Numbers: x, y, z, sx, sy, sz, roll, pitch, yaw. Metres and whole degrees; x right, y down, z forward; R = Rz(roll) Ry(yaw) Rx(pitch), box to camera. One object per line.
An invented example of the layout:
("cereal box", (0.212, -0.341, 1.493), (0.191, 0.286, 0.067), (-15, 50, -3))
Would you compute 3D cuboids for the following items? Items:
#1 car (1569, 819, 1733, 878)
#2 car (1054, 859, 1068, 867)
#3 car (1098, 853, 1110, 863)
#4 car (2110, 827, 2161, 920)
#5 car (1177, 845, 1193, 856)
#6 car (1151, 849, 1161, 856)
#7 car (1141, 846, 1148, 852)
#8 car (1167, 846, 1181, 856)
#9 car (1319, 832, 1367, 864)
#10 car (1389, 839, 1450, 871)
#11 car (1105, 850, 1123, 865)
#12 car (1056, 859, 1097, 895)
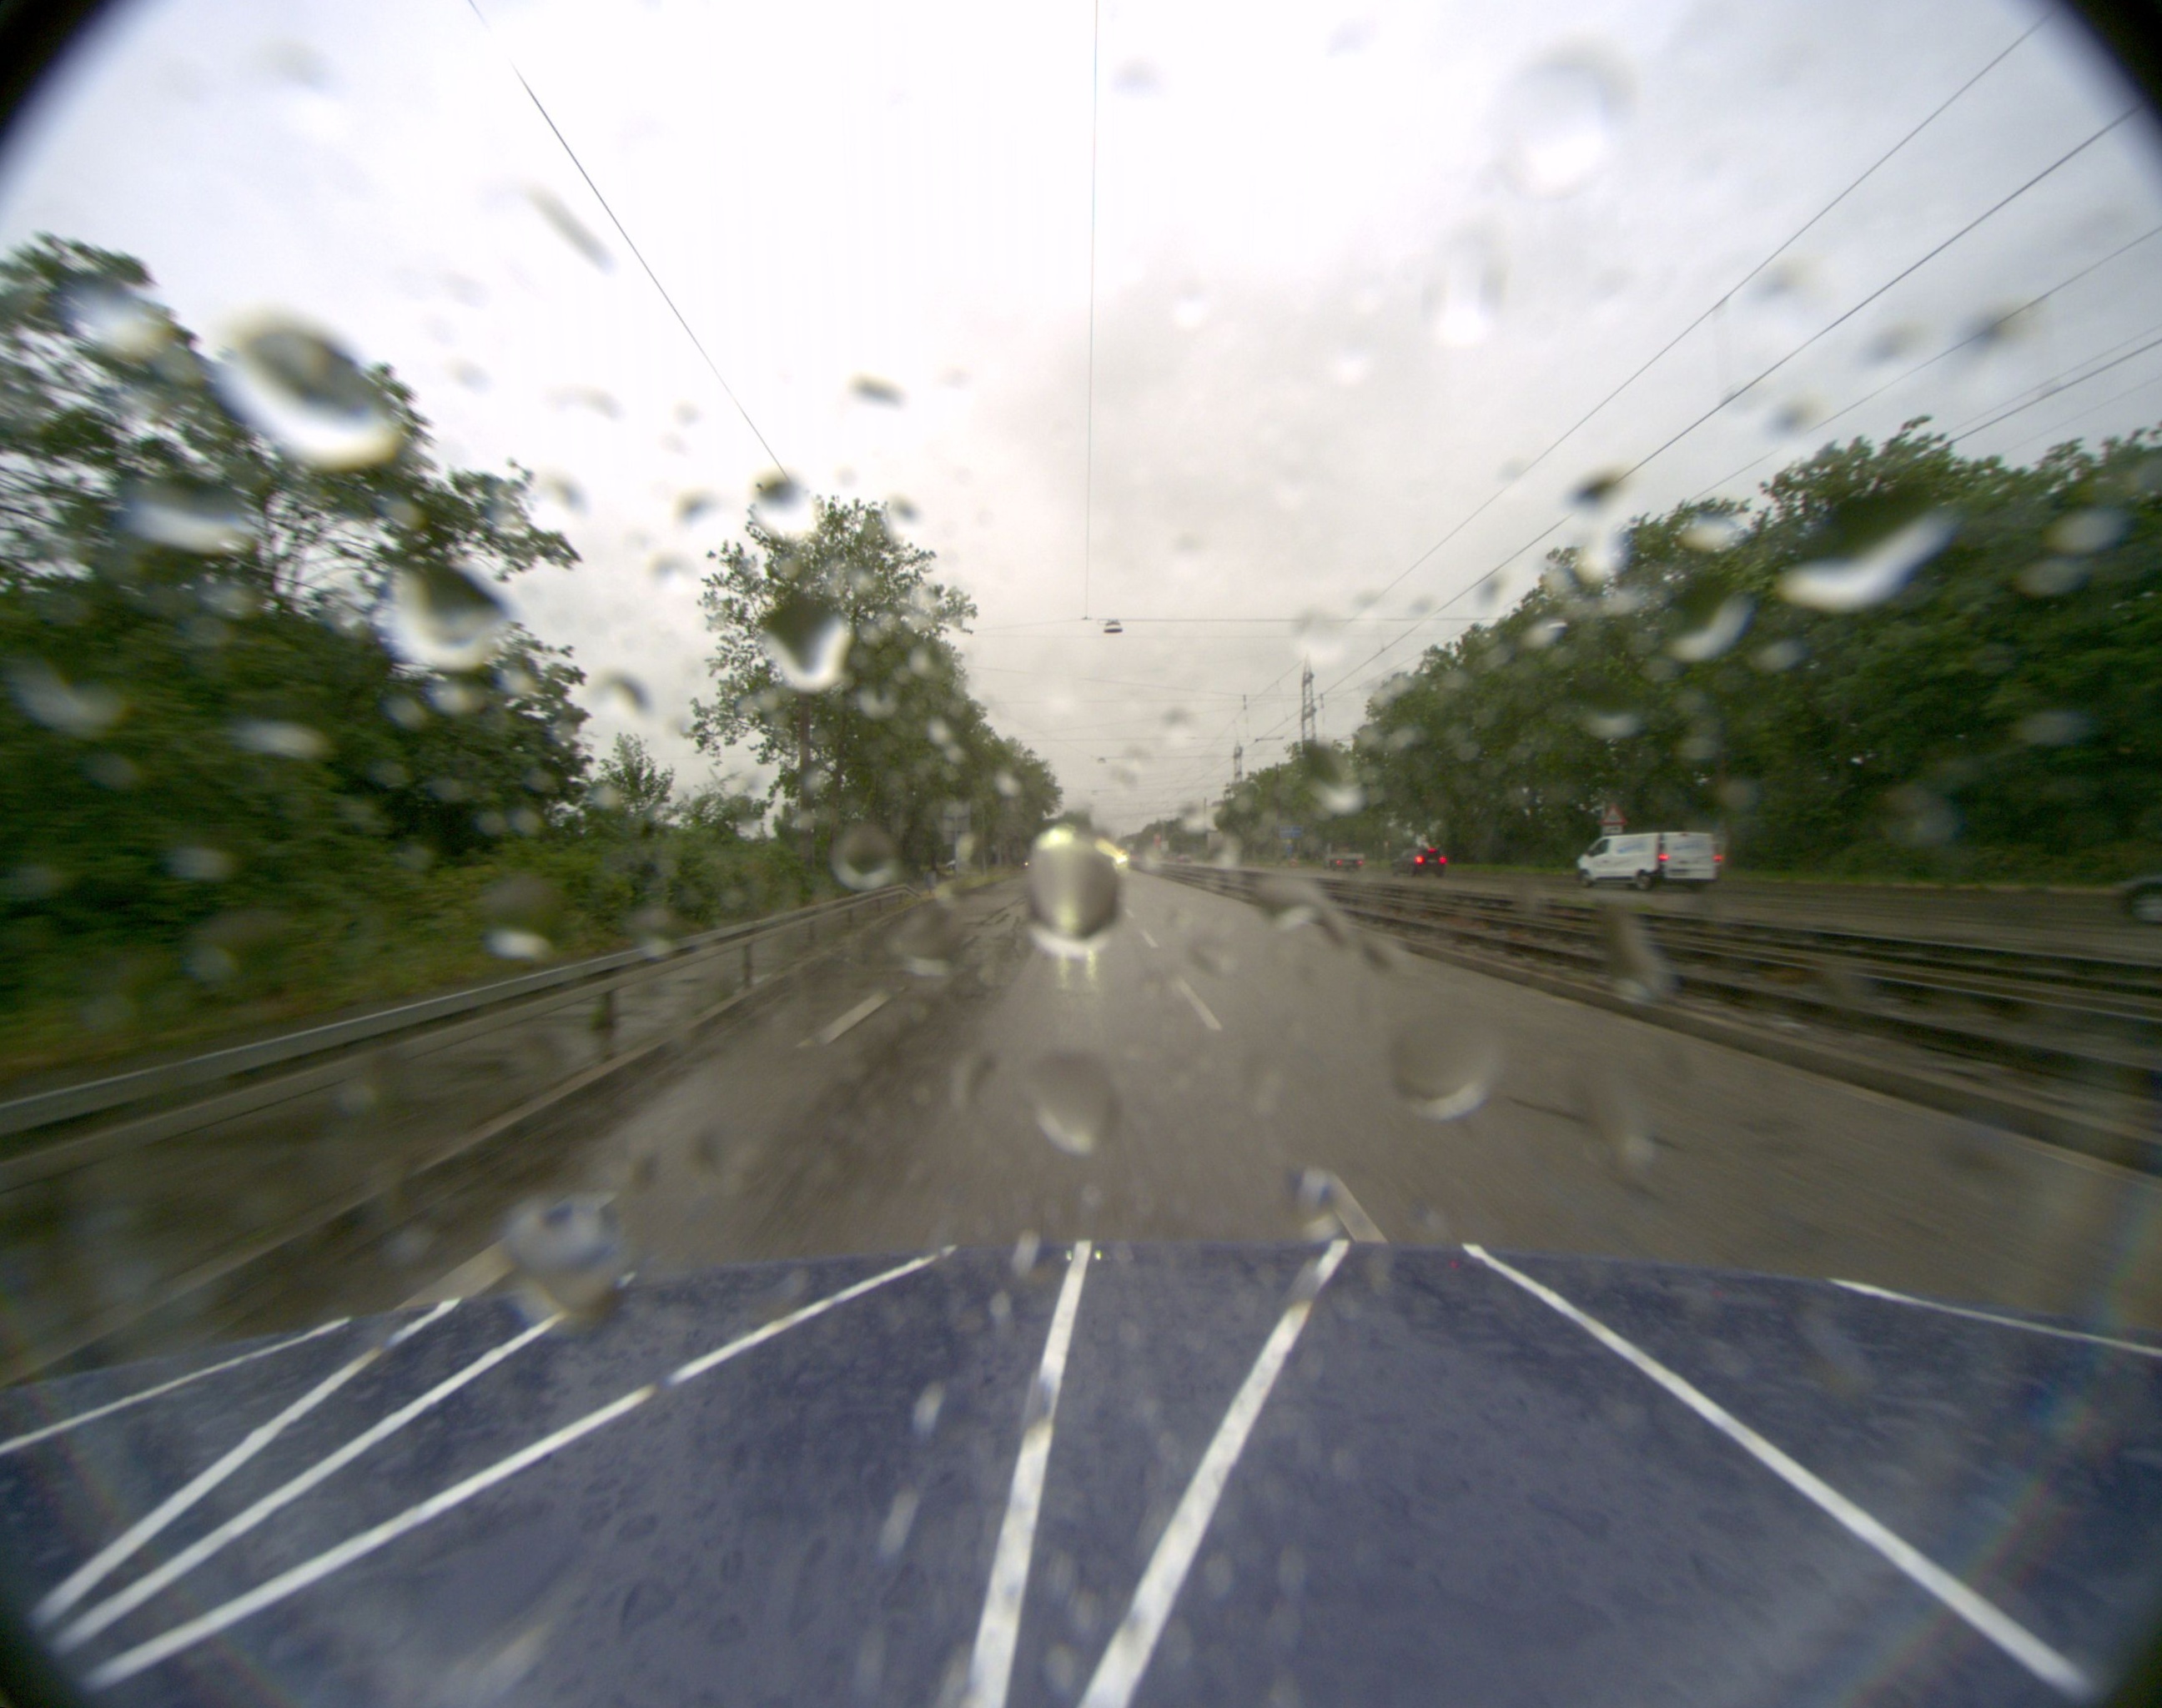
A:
("car", (19.578, -0.144, 26.467), (2.044, 1.765, 4.987), (-3, -1, 2))
("car", (-3.737, 1.656, 143.365), (1.783, 1.419, 4.003), (-2, -1, 8))
("car", (3.686, 0.697, 124.297), (1.807, 1.521, 3.645), (-3, -1, 0))
("car", (18.518, 0.270, 10.782), (1.692, 1.510, 4.613), (-3, -1, 4))
("car", (17.125, -0.545, 124.927), (1.780, 1.575, 5.682), (-3, -1, 0))
("car", (17.568, -0.304, 178.405), (1.795, 1.540, 5.314), (-3, -1, 1))
("car", (19.496, -1.444, 232.589), (1.693, 1.542, 4.000), (-3, -1, 0))
("car", (17.822, -0.481, 145.631), (1.824, 1.695, 6.105), (-3, -1, 1))
("car", (20.795, -0.447, 60.648), (2.103, 2.329, 6.994), (-3, -1, 7))
("car", (19.808, 0.078, 44.638), (1.845, 1.706, 4.164), (-3, -1, 4))
("car", (3.625, 0.437, 84.363), (1.807, 1.521, 3.645), (-3, -1, 0))
("car", (-0.192, 1.070, 36.219), (1.807, 1.521, 3.645), (-3, -1, 0))
